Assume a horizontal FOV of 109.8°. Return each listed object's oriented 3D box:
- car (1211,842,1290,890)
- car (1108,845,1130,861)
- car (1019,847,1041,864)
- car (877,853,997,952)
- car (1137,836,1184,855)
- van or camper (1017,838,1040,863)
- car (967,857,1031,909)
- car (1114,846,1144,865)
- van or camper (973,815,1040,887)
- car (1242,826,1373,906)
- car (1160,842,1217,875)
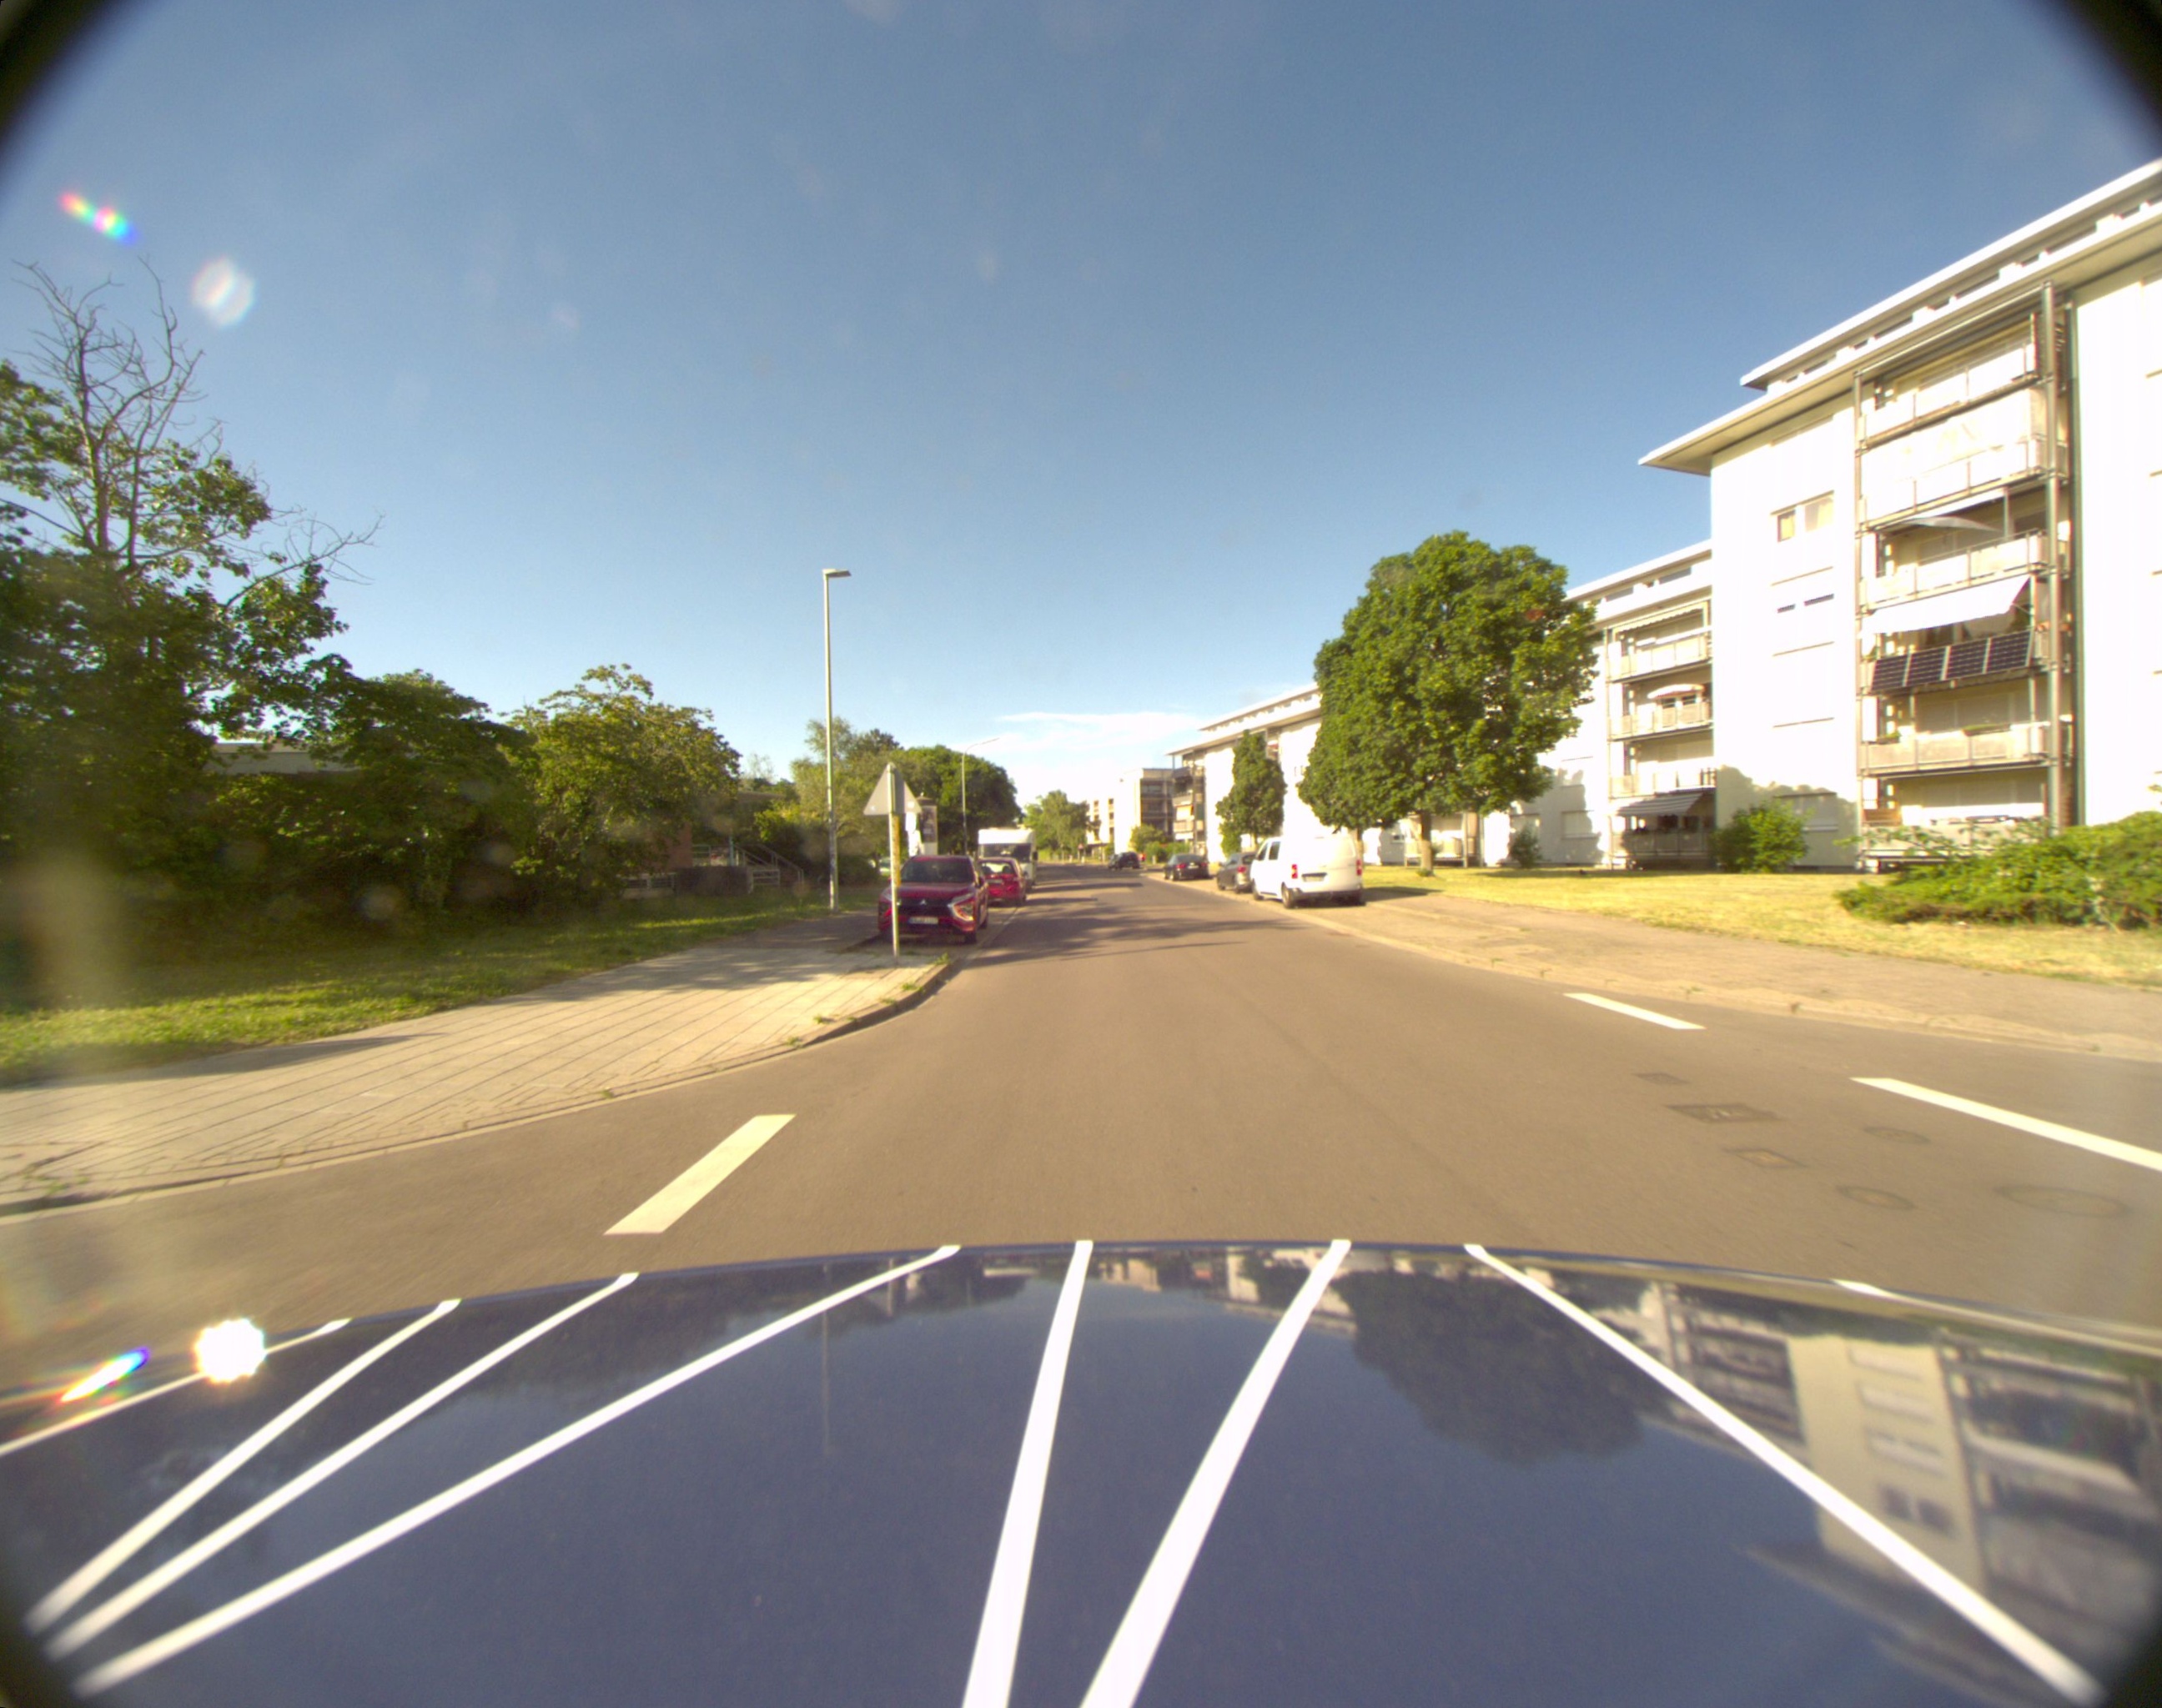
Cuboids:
[{"bbox_3d":[6.075,0.379,27.739,1.838,1.509,4.220,-3,1,-1],"label":"car"},{"bbox_3d":[3.763,-0.083,75.570,1.651,1.458,4.328,-2,1,-4],"label":"car"},{"bbox_3d":[-5.235,0.105,76.953,2.000,1.631,4.533,0,0,-7],"label":"car"},{"bbox_3d":[-2.781,0.859,15.655,1.780,1.670,4.643,1,1,-3],"label":"car"},{"bbox_3d":[10.789,-1.099,103.547,5.923,2.414,2.212,-1,-1,-7],"label":"car"},{"bbox_3d":[-5.796,-0.437,83.711,2.358,2.581,6.422,1,0,-5],"label":"van or camper"},{"bbox_3d":[-2.596,0.877,24.871,1.696,1.466,3.999,-1,1,-1],"label":"car"},{"bbox_3d":[4.316,0.110,69.159,1.920,1.595,4.809,-1,1,-6],"label":"car"},{"bbox_3d":[-3.145,-0.162,33.688,2.503,2.829,6.849,-1,1,-2],"label":"van or camper"},{"bbox_3d":[6.111,0.246,21.239,2.019,1.875,5.189,-3,1,0],"label":"car"},{"bbox_3d":[5.646,0.195,40.552,2.040,1.484,5.254,-4,1,-2],"label":"car"}]
